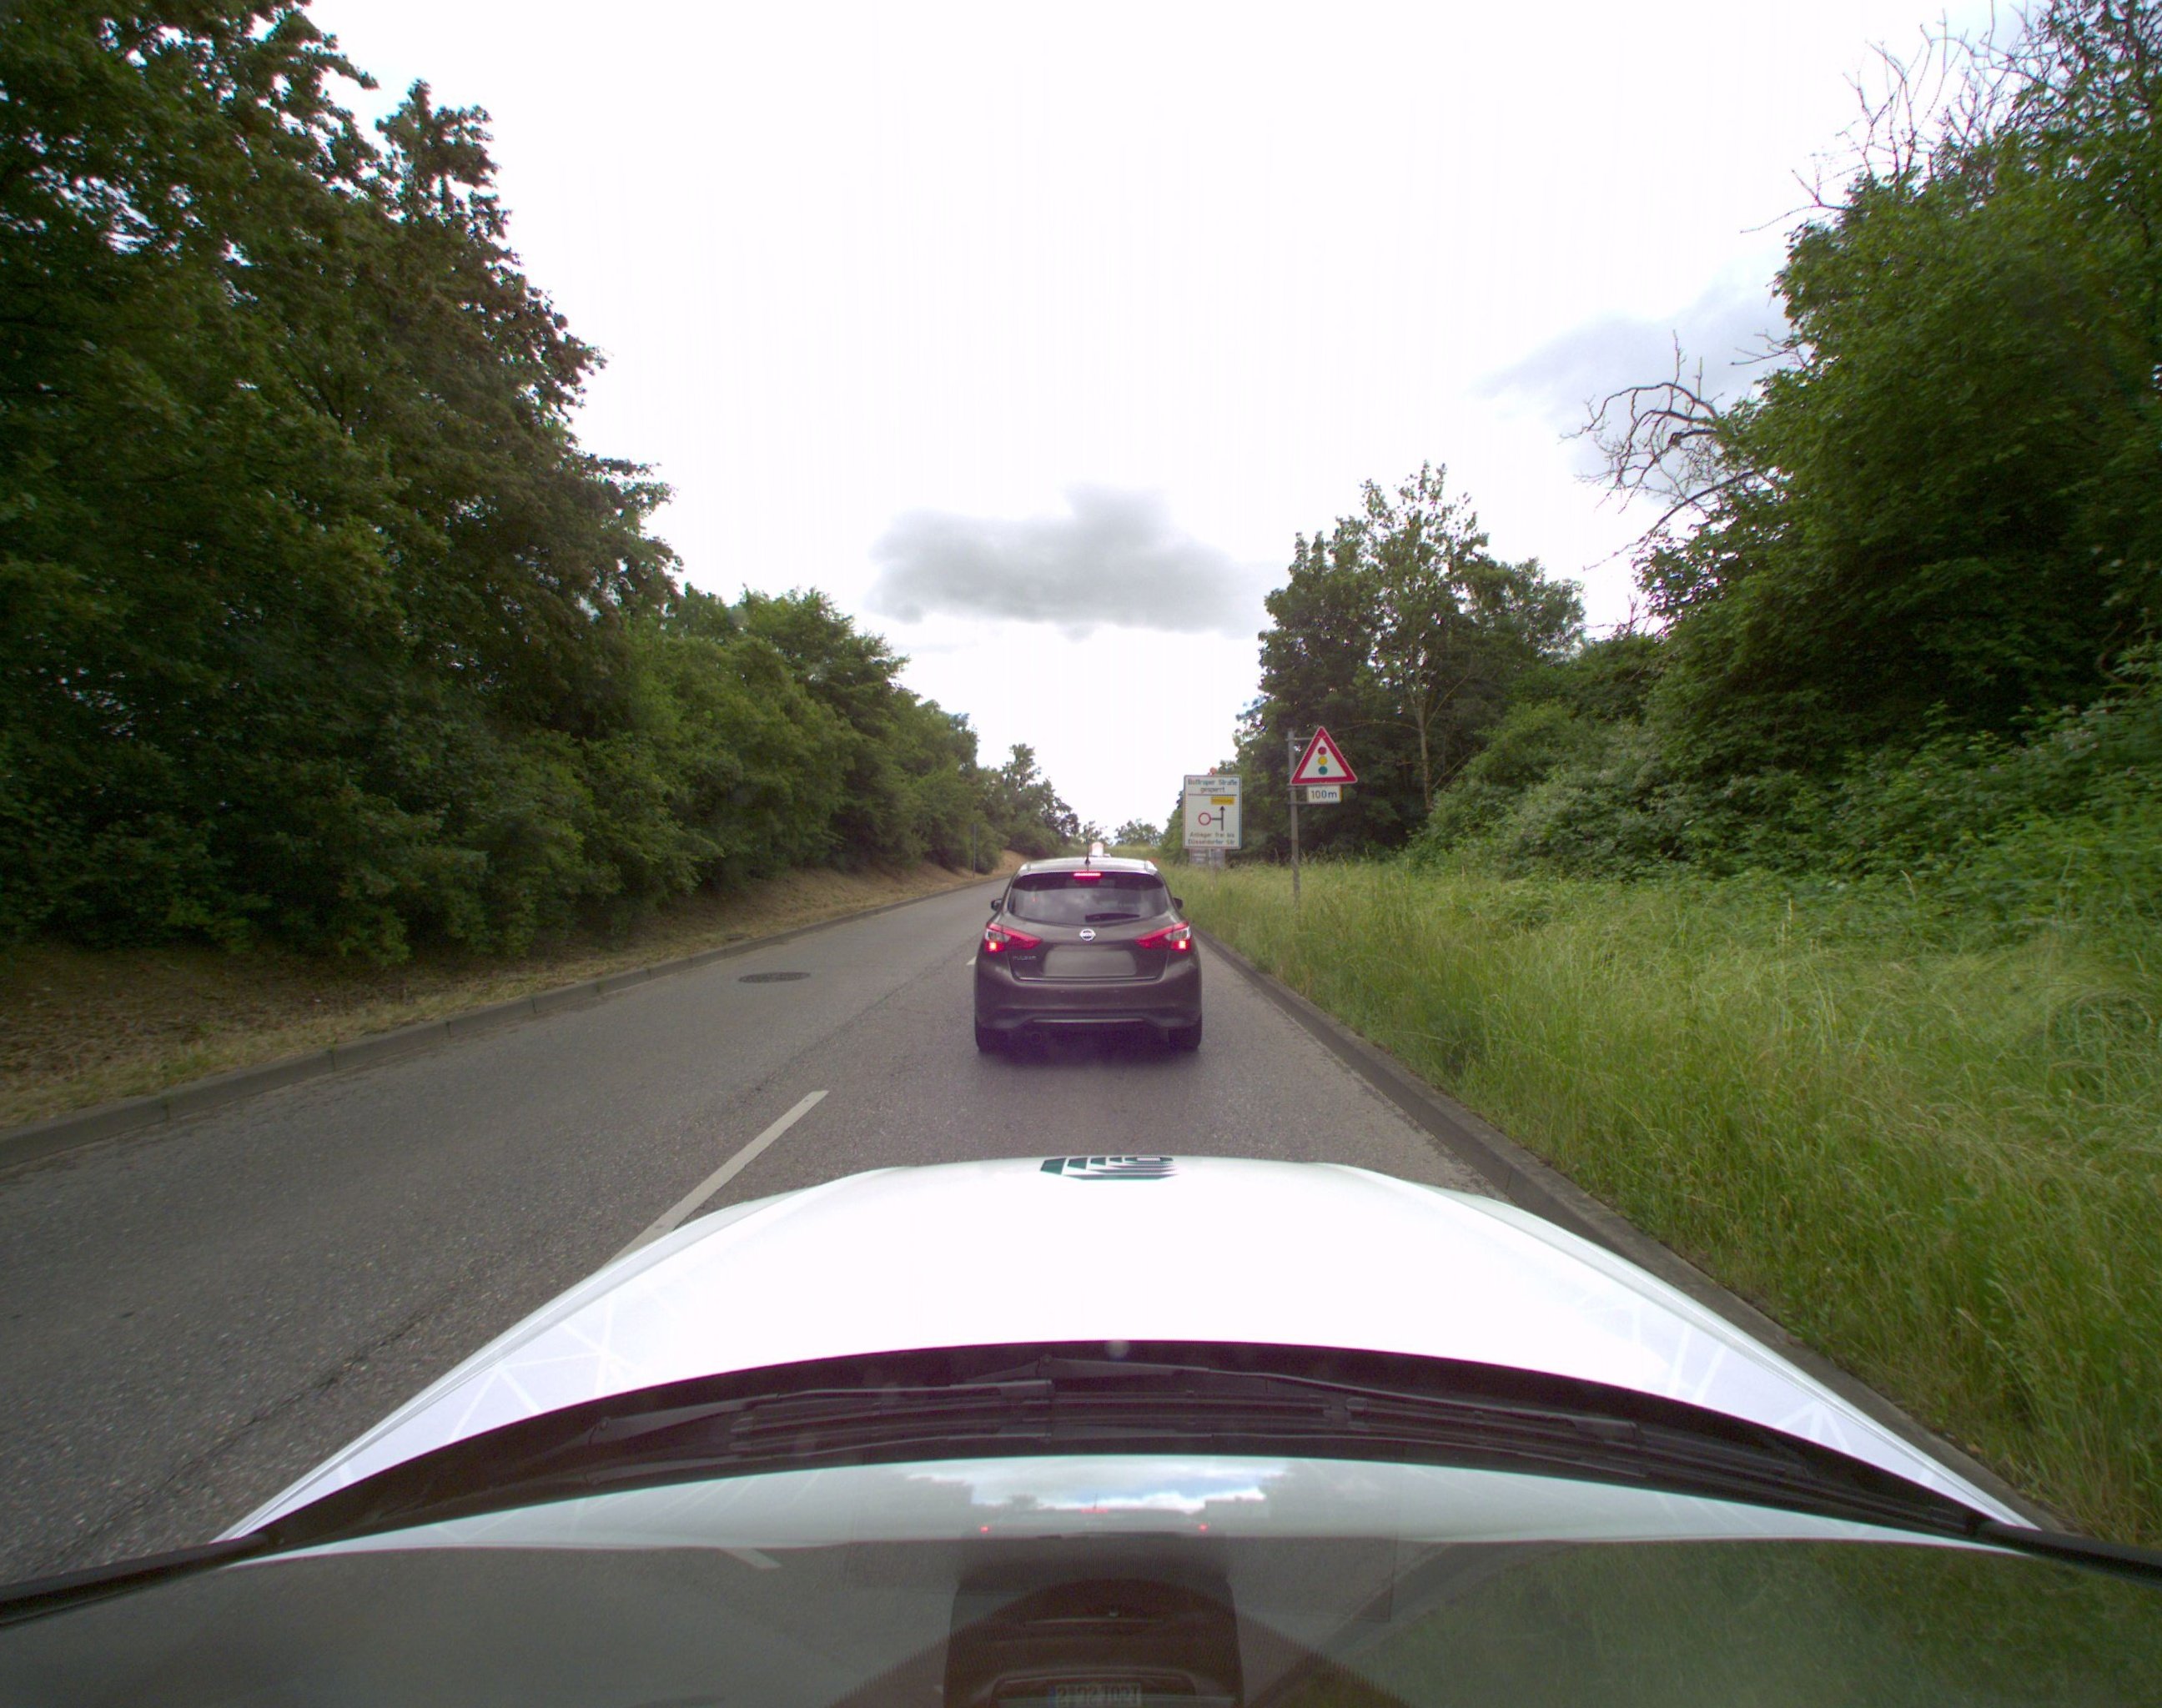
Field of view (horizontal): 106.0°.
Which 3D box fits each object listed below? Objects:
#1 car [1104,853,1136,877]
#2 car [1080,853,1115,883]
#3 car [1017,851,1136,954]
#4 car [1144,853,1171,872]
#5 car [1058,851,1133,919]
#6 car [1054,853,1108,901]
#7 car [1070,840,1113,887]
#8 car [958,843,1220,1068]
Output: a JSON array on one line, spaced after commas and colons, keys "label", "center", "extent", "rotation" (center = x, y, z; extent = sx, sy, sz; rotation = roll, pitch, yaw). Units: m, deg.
[{"label": "car", "center": [2.729, 0.751, 55.857], "extent": [1.725, 1.526, 3.651], "rotation": [-2, 0, 10]}, {"label": "car", "center": [0.869, 0.722, 43.366], "extent": [1.730, 1.526, 3.543], "rotation": [-1, 0, 0]}, {"label": "car", "center": [0.000, 0.753, 14.464], "extent": [1.823, 1.556, 3.626], "rotation": [-1, 0, 2]}, {"label": "car", "center": [6.532, 0.686, 69.359], "extent": [1.724, 1.526, 3.655], "rotation": [-2, 0, 13]}, {"label": "car", "center": [0.410, 0.731, 21.006], "extent": [1.729, 1.556, 3.545], "rotation": [-1, 0, 2]}, {"label": "car", "center": [0.049, 0.761, 28.790], "extent": [1.729, 1.556, 3.545], "rotation": [-1, 0, 2]}, {"label": "car", "center": [0.460, 0.389, 35.837], "extent": [1.730, 1.935, 3.543], "rotation": [-1, 0, 0]}, {"label": "car", "center": [0.065, 0.713, 7.493], "extent": [1.824, 1.556, 3.499], "rotation": [-1, 0, 0]}]
